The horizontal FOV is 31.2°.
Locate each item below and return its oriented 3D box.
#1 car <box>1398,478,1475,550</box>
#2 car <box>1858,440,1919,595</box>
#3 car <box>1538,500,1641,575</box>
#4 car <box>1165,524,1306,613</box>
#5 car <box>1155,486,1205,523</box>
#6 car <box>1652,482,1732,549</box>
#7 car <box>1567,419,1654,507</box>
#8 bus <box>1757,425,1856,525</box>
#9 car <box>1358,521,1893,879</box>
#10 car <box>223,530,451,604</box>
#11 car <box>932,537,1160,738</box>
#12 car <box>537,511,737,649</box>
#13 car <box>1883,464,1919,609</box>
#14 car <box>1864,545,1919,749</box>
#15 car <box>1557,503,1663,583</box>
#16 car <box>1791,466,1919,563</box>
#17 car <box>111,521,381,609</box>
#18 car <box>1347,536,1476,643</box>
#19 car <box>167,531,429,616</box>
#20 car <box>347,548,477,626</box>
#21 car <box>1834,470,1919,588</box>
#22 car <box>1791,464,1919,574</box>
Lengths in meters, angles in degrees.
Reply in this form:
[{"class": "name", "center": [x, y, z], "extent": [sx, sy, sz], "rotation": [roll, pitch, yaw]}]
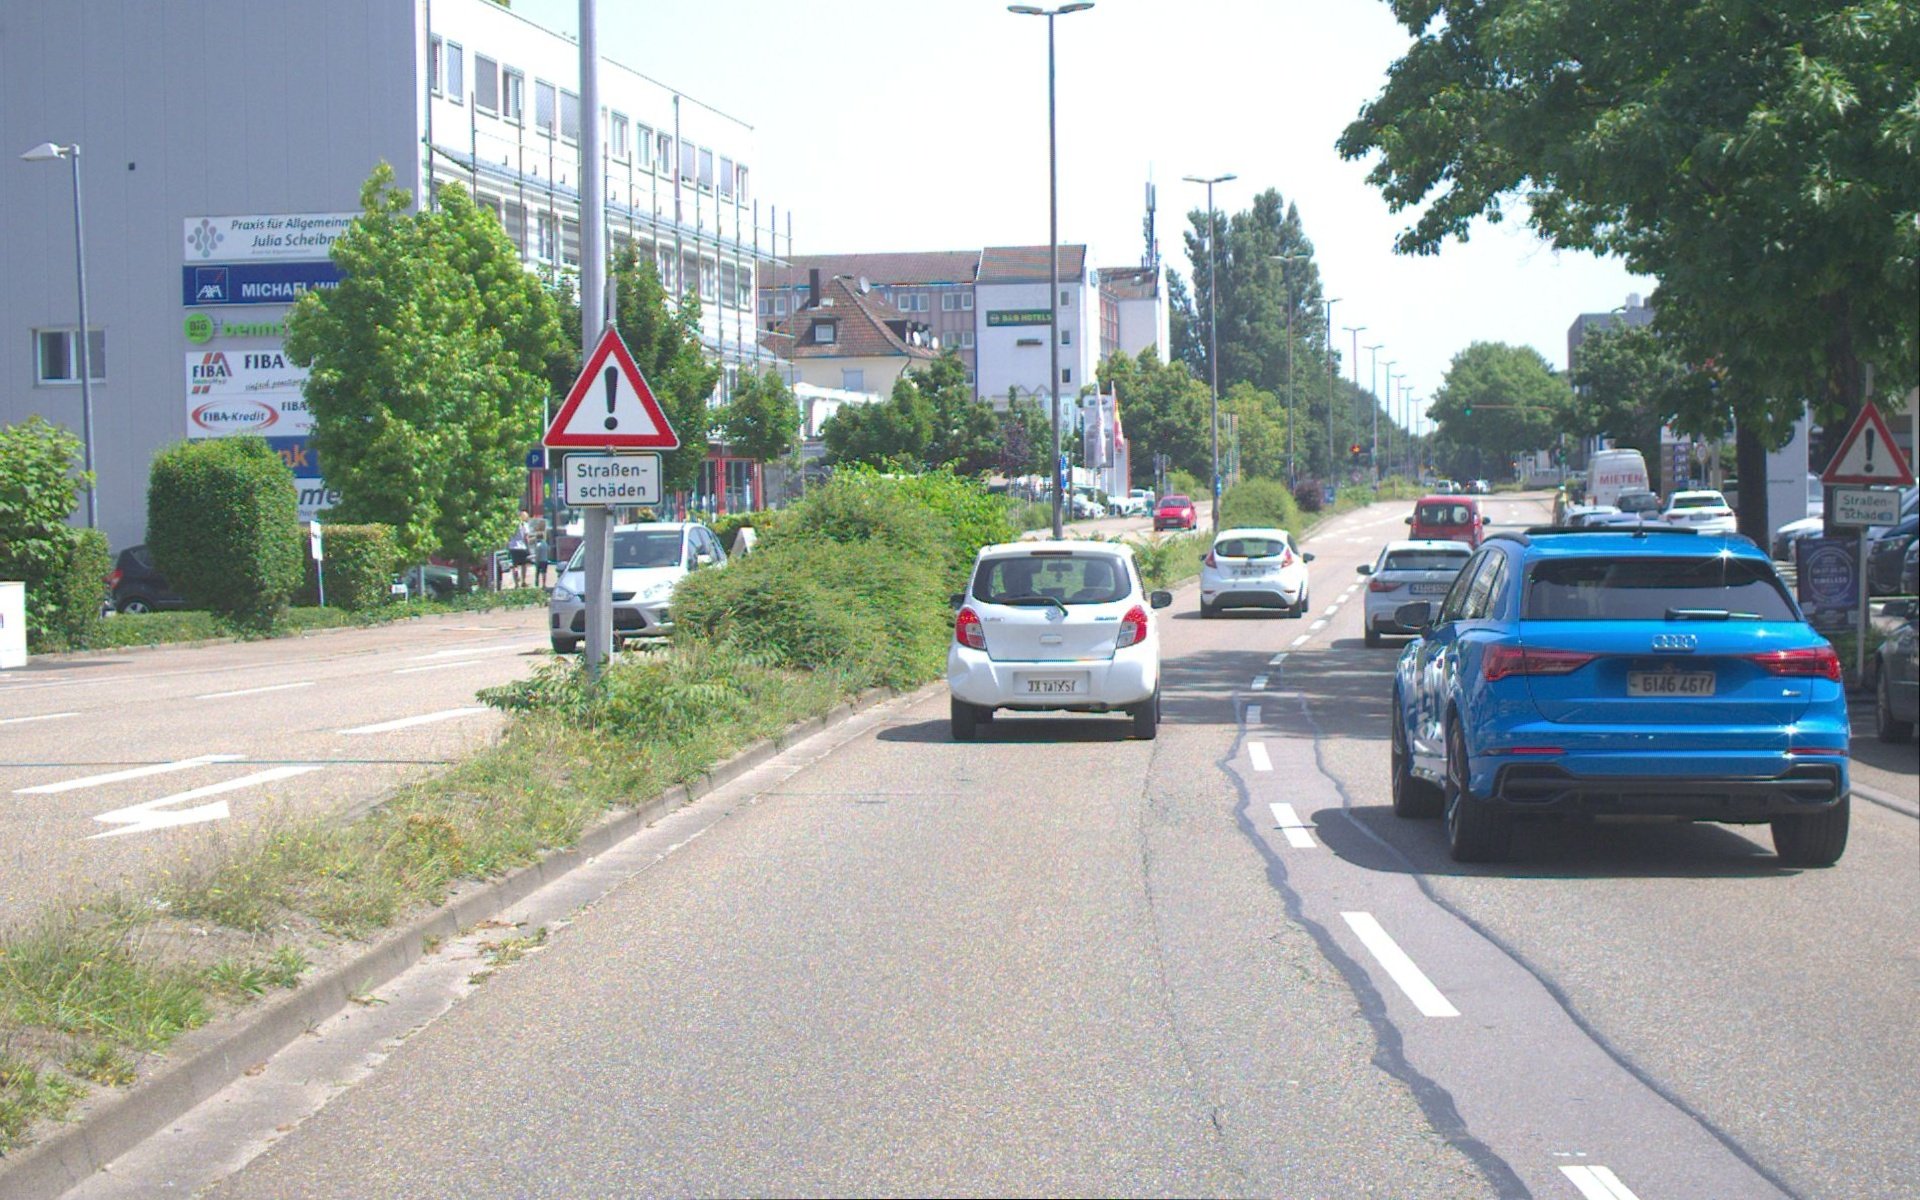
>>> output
[{"class": "car", "center": [11.740, -2.100, 84.868], "extent": [1.795, 1.723, 3.972], "rotation": [1, 1, 7]}, {"class": "car", "center": [17.847, -1.325, 56.432], "extent": [5.846, 2.515, 2.203], "rotation": [1, 0, 11]}, {"class": "car", "center": [13.842, -1.397, 75.745], "extent": [1.732, 1.547, 4.180], "rotation": [0, 2, 3]}, {"class": "car", "center": [4.607, -0.539, 57.985], "extent": [1.829, 1.445, 4.001], "rotation": [0, 1, -3]}, {"class": "car", "center": [9.257, -4.001, 144.342], "extent": [1.631, 1.419, 3.449], "rotation": [-3, 1, 10]}, {"class": "car", "center": [18.840, -2.203, 88.623], "extent": [1.667, 1.590, 4.612], "rotation": [-2, 2, 8]}, {"class": "car", "center": [22.675, -4.743, 120.074], "extent": [2.133, 2.829, 7.308], "rotation": [-5, 1, 6]}, {"class": "bus", "center": [27.983, -4.220, 113.997], "extent": [2.806, 3.068, 12.280], "rotation": [0, 3, 12]}, {"class": "car", "center": [3.235, 0.417, 17.596], "extent": [1.913, 1.591, 4.395], "rotation": [0, 1, 1]}, {"class": "car", "center": [-11.810, -0.638, 65.316], "extent": [3.839, 1.226, 1.859], "rotation": [-2, 2, 8]}, {"class": "car", "center": [0.729, 0.275, 27.589], "extent": [1.712, 1.505, 3.247], "rotation": [0, 0, 3]}, {"class": "car", "center": [-4.070, -0.287, 43.976], "extent": [1.781, 1.623, 4.339], "rotation": [-2, 1, 5]}, {"class": "car", "center": [16.507, -1.063, 51.459], "extent": [4.901, 2.107, 2.129], "rotation": [-2, 2, 8]}, {"class": "car", "center": [7.601, 0.334, 24.152], "extent": [1.798, 1.401, 4.319], "rotation": [1, 1, 7]}, {"class": "car", "center": [13.269, -1.188, 70.399], "extent": [1.714, 1.543, 4.790], "rotation": [-1, 1, 6]}, {"class": "car", "center": [18.619, -1.707, 67.660], "extent": [4.151, 1.775, 1.881], "rotation": [-2, 0, 8]}, {"class": "car", "center": [-12.441, -0.627, 60.041], "extent": [4.149, 1.337, 2.042], "rotation": [-2, 2, 6]}, {"class": "car", "center": [6.149, -0.166, 46.705], "extent": [1.667, 1.394, 3.792], "rotation": [0, 1, 8]}, {"class": "car", "center": [-12.073, -0.492, 62.837], "extent": [4.225, 1.344, 1.980], "rotation": [-2, 2, 8]}, {"class": "car", "center": [-11.784, -0.293, 74.084], "extent": [1.660, 1.462, 3.797], "rotation": [-3, 2, 8]}, {"class": "car", "center": [18.148, -1.210, 59.167], "extent": [5.896, 2.007, 2.258], "rotation": [1, 1, 11]}, {"class": "car", "center": [18.813, -1.644, 67.411], "extent": [4.641, 2.006, 1.960], "rotation": [-2, 2, 7]}]
